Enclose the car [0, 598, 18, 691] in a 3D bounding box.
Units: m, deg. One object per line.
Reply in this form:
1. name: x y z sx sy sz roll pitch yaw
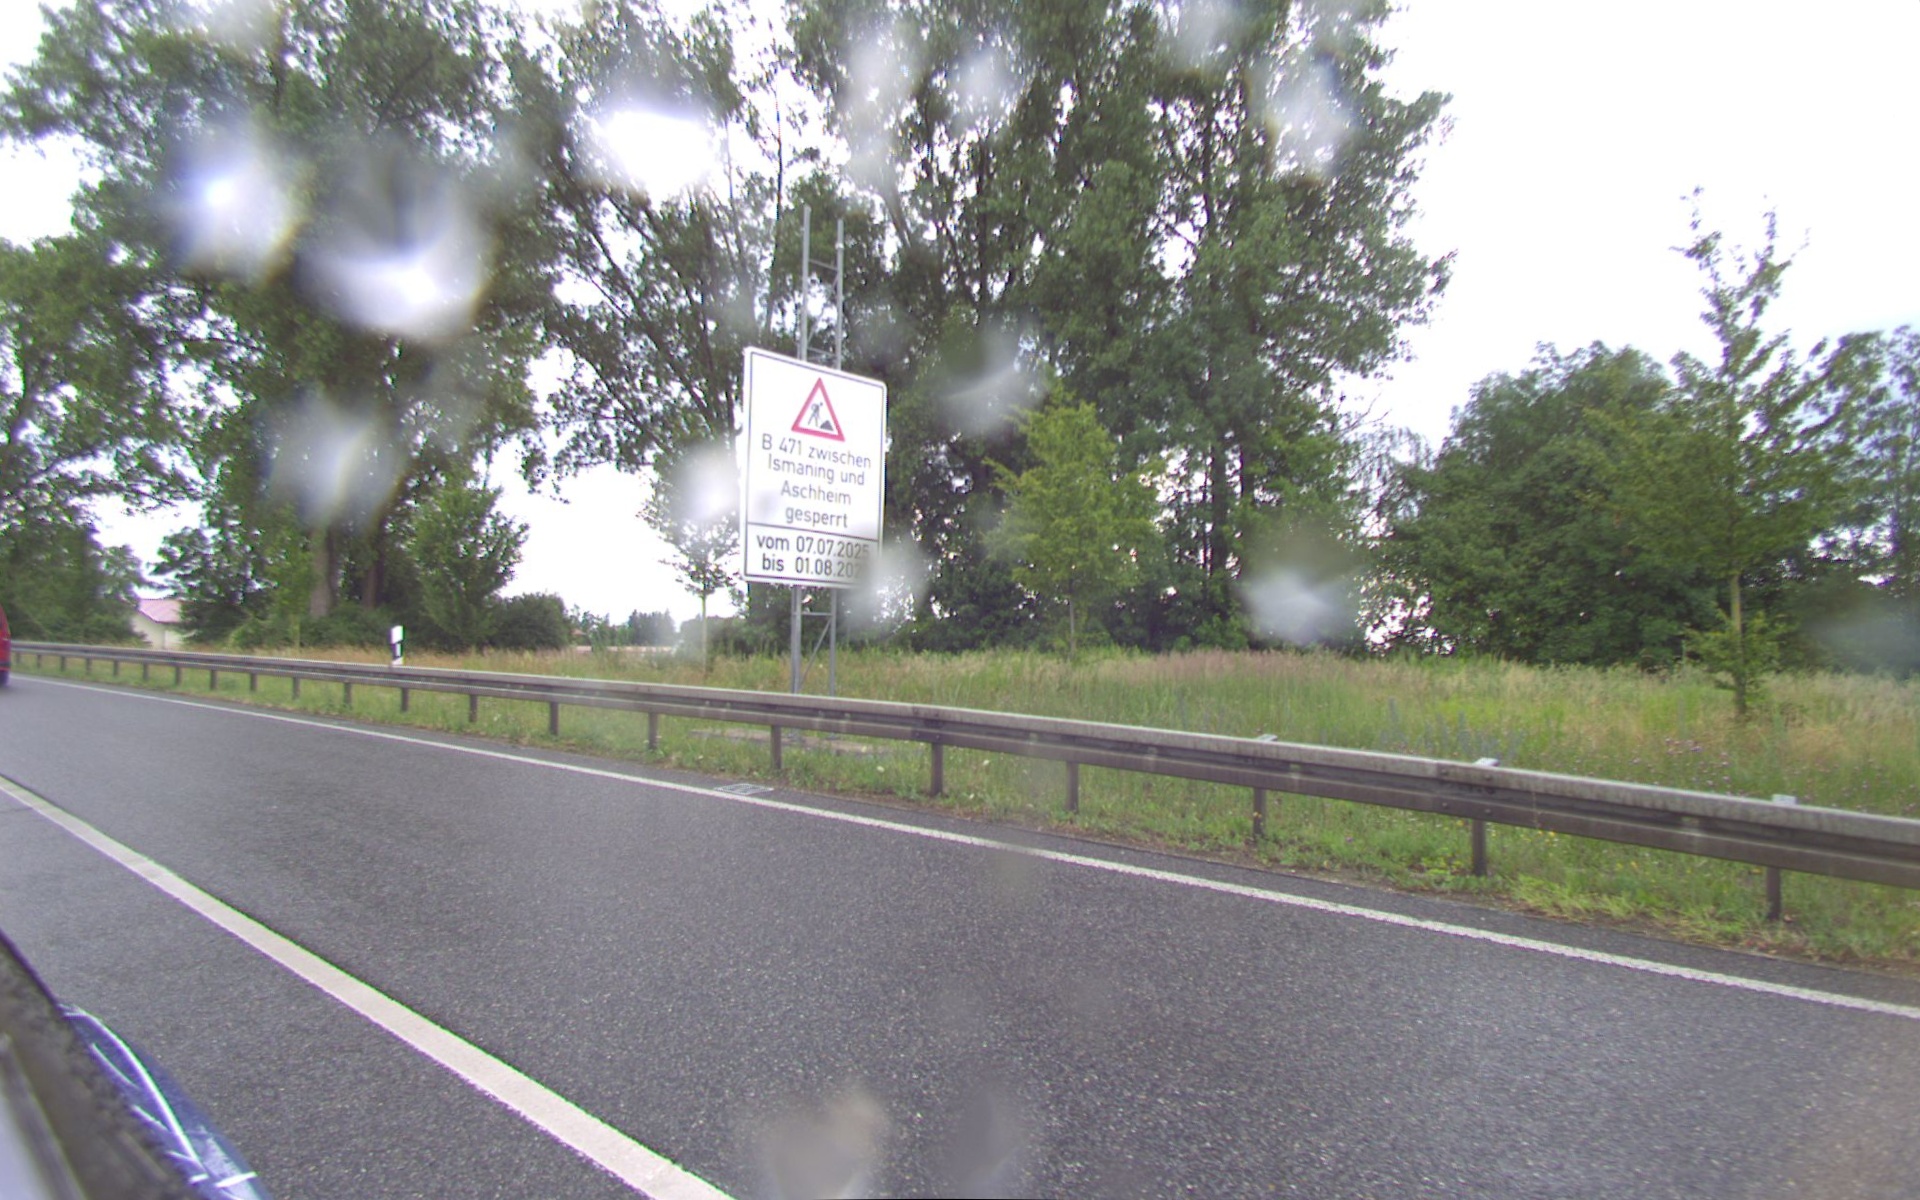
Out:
1. car: -21.409 0.881 21.046 4.511 1.864 1.785 0 -1 36
